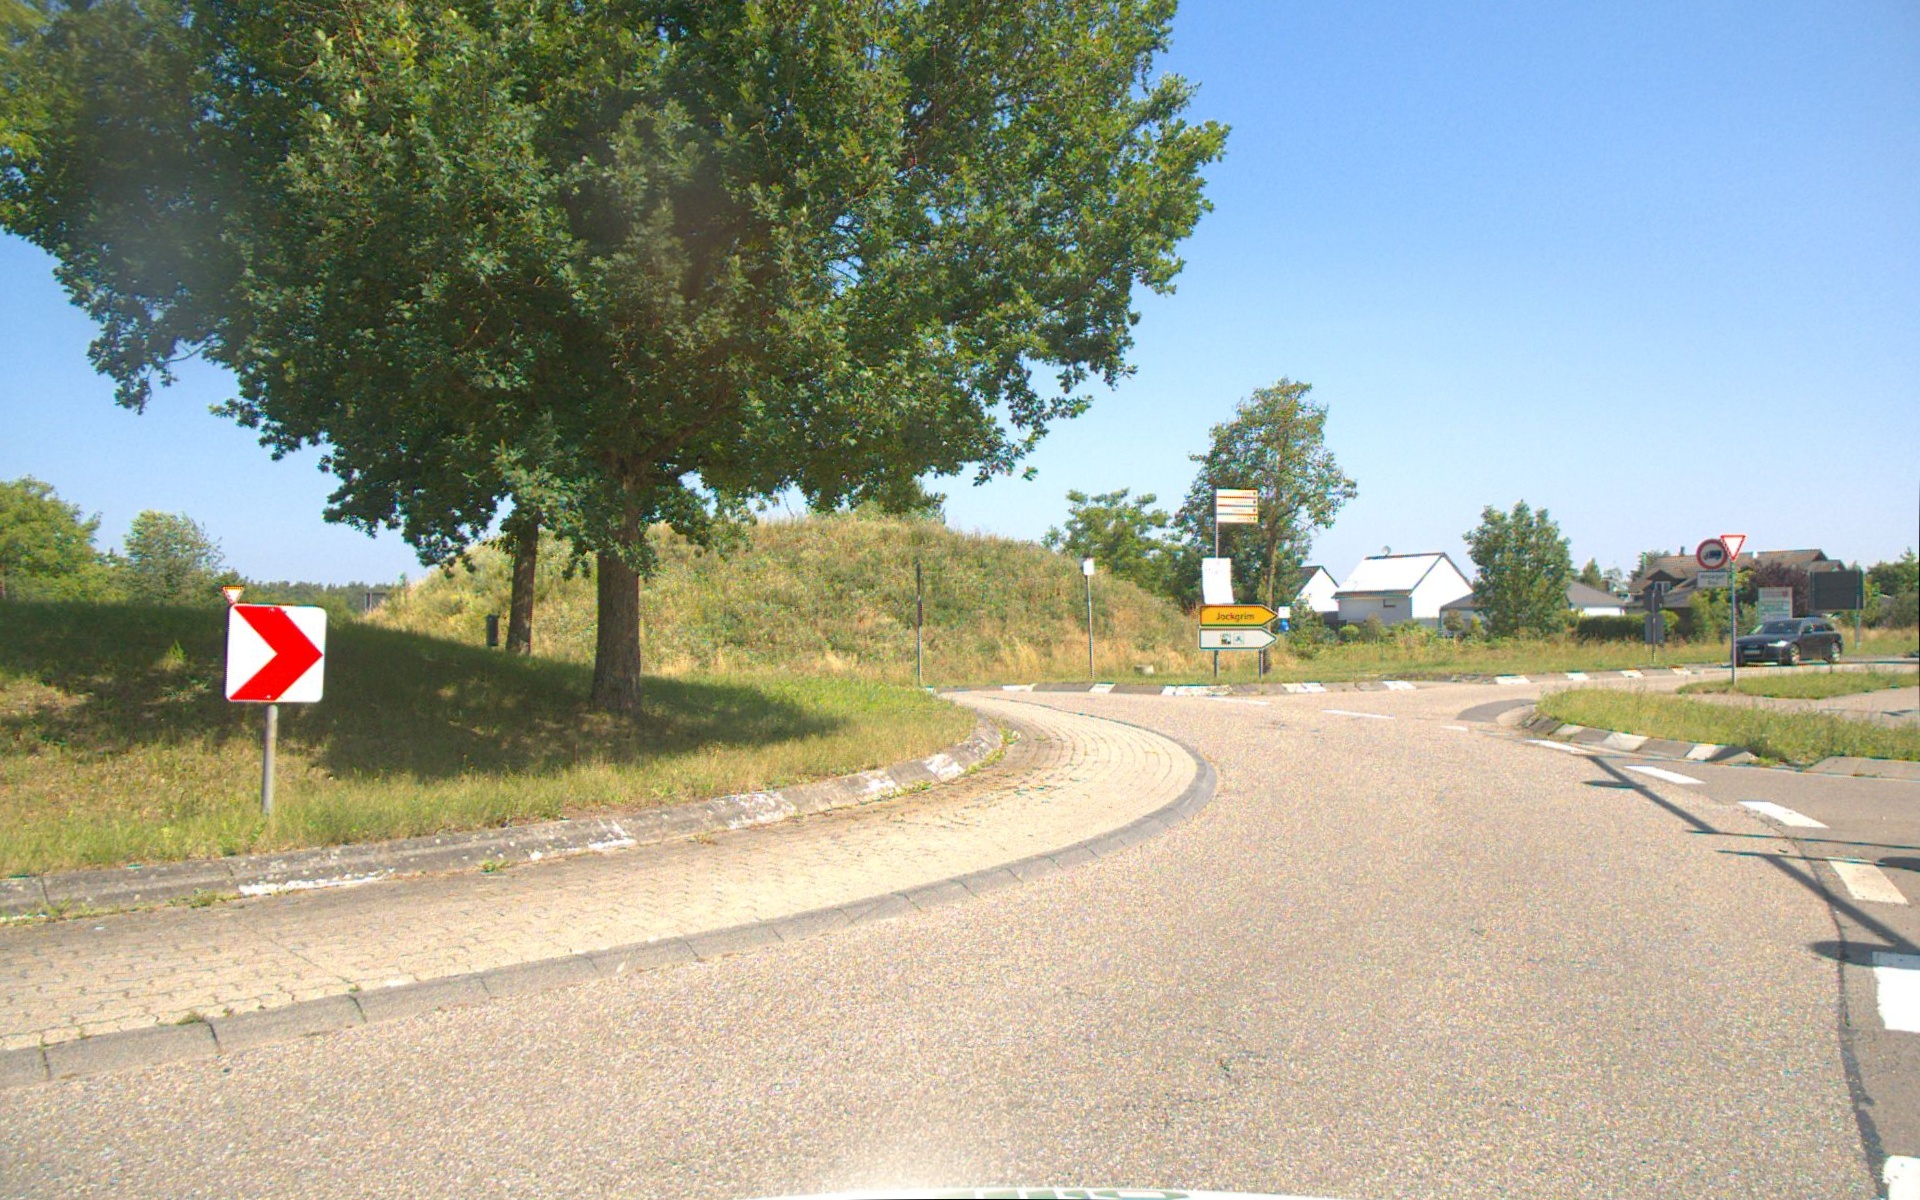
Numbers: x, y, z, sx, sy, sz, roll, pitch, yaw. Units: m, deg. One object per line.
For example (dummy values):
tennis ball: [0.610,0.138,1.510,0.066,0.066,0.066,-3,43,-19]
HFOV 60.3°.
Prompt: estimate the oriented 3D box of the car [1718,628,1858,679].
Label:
car: [26.004,1.673,51.907,4.858,1.459,1.898,1,-4,-37]
